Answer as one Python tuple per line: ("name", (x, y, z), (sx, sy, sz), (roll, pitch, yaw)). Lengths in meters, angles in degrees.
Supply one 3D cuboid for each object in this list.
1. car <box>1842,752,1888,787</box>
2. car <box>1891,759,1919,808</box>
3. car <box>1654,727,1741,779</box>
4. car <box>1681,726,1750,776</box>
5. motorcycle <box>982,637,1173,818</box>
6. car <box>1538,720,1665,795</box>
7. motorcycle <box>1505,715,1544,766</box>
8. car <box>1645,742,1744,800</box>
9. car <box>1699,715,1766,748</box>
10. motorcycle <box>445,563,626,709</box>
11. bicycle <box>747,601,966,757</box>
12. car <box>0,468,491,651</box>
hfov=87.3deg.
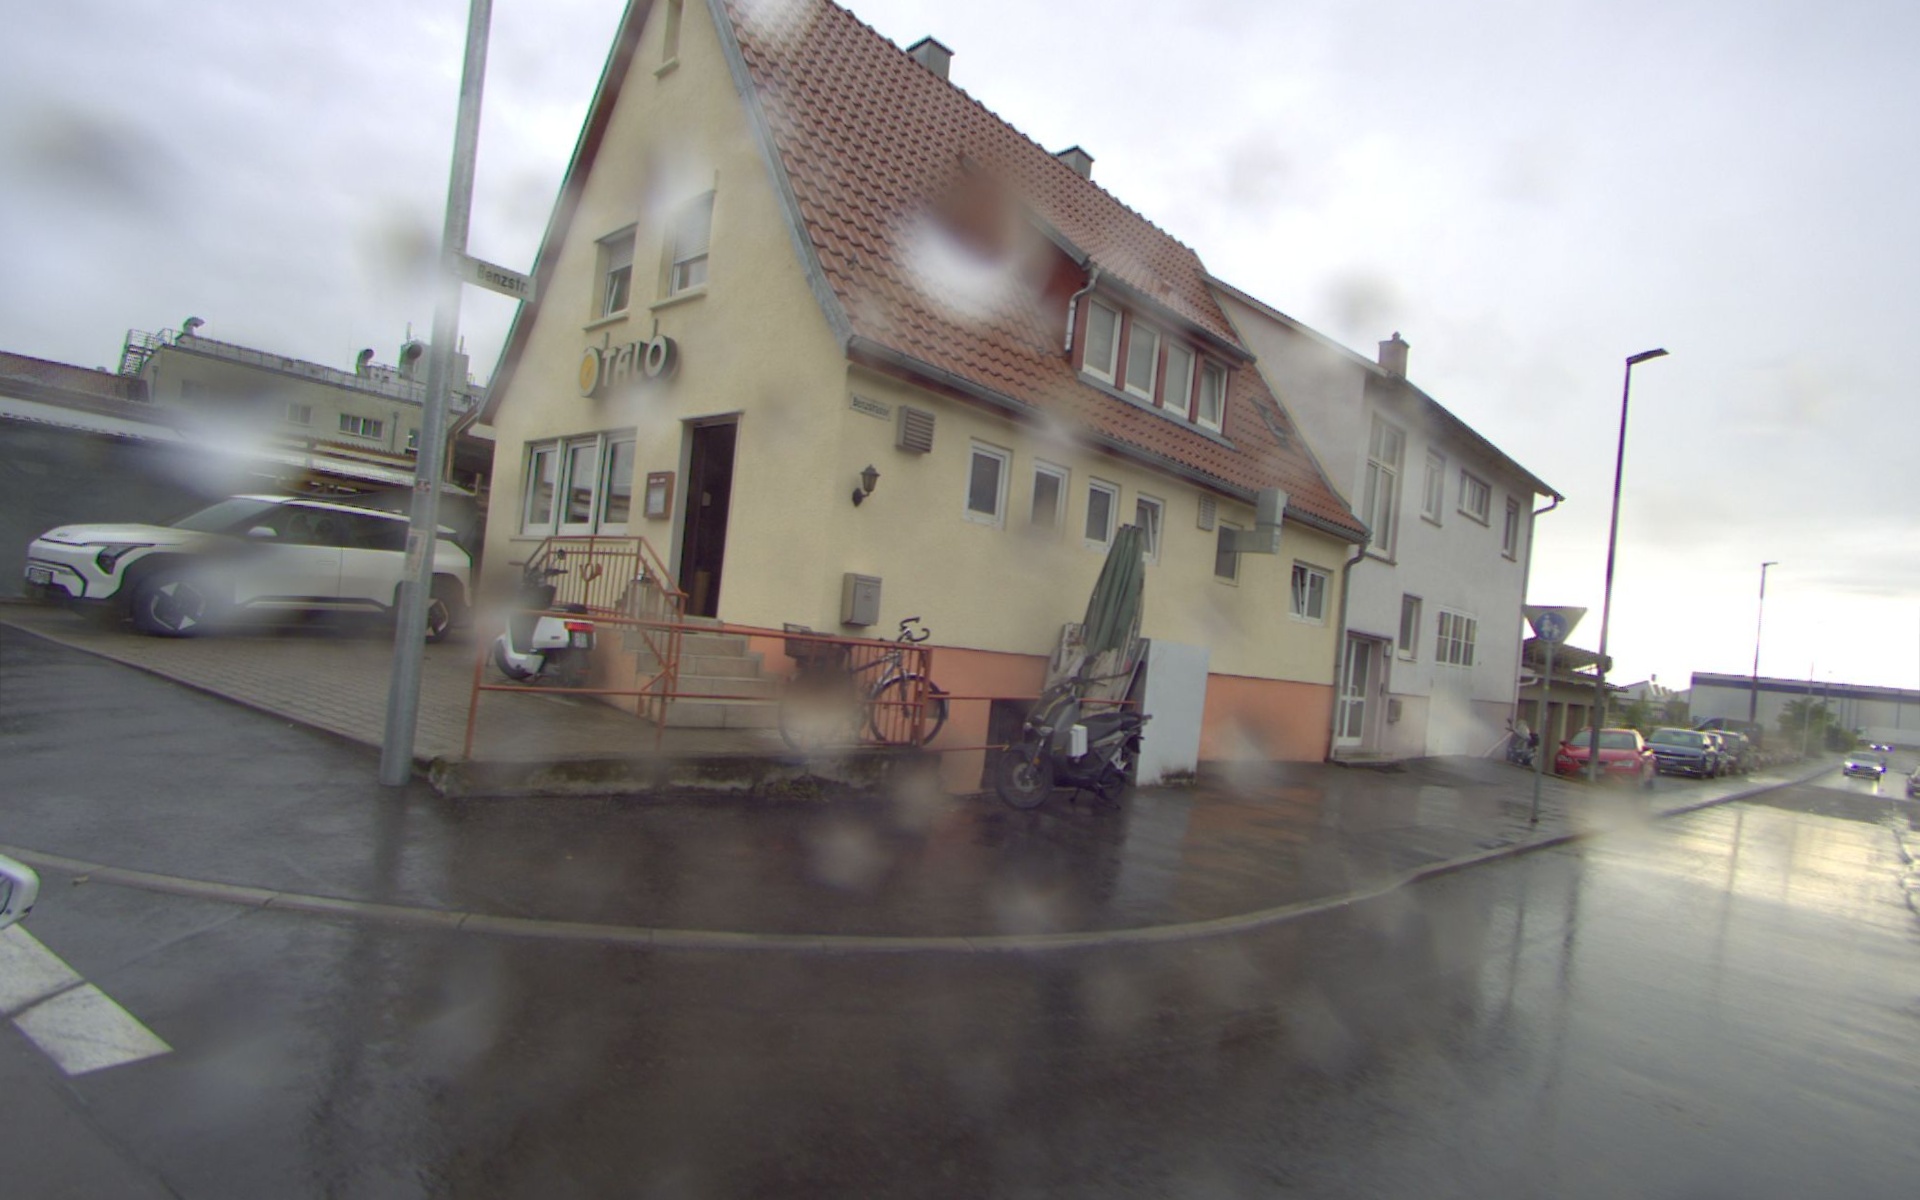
("car", (57.385, 10.738, 63.831), (1.973, 1.803, 3.982), (5, -3, 42))
("car", (45.901, 8.797, 47.700), (1.969, 2.037, 3.989), (6, -2, 36))
("car", (29.343, 6.074, 39.992), (4.172, 1.608, 1.975), (8, 0, -44))
("car", (33.178, 6.618, 44.136), (1.973, 1.803, 3.982), (5, -3, 42))
("motorcycle", (1.138, 1.189, 9.303), (0.483, 1.473, 2.029), (6, -2, 44))
("car", (15.990, 3.823, 24.973), (1.972, 1.393, 4.240), (7, -1, 41))
("motorcycle", (14.122, 3.517, 25.144), (0.482, 1.164, 2.033), (6, -2, 38))
("car", (25.540, 5.888, 34.944), (4.172, 1.527, 1.975), (8, 0, -44))
("car", (71.323, 12.115, 92.955), (4.717, 2.310, 1.994), (5, -3, 40))
("motorcycle", (-4.008, 0.311, 9.418), (1.969, 1.109, 0.488), (7, -1, 36))
("bicycle", (-0.801, 0.686, 8.271), (1.766, 1.108, 0.483), (9, -1, -45))
("car", (-7.944, -0.342, 11.614), (1.830, 1.630, 4.221), (6, 0, 30))
